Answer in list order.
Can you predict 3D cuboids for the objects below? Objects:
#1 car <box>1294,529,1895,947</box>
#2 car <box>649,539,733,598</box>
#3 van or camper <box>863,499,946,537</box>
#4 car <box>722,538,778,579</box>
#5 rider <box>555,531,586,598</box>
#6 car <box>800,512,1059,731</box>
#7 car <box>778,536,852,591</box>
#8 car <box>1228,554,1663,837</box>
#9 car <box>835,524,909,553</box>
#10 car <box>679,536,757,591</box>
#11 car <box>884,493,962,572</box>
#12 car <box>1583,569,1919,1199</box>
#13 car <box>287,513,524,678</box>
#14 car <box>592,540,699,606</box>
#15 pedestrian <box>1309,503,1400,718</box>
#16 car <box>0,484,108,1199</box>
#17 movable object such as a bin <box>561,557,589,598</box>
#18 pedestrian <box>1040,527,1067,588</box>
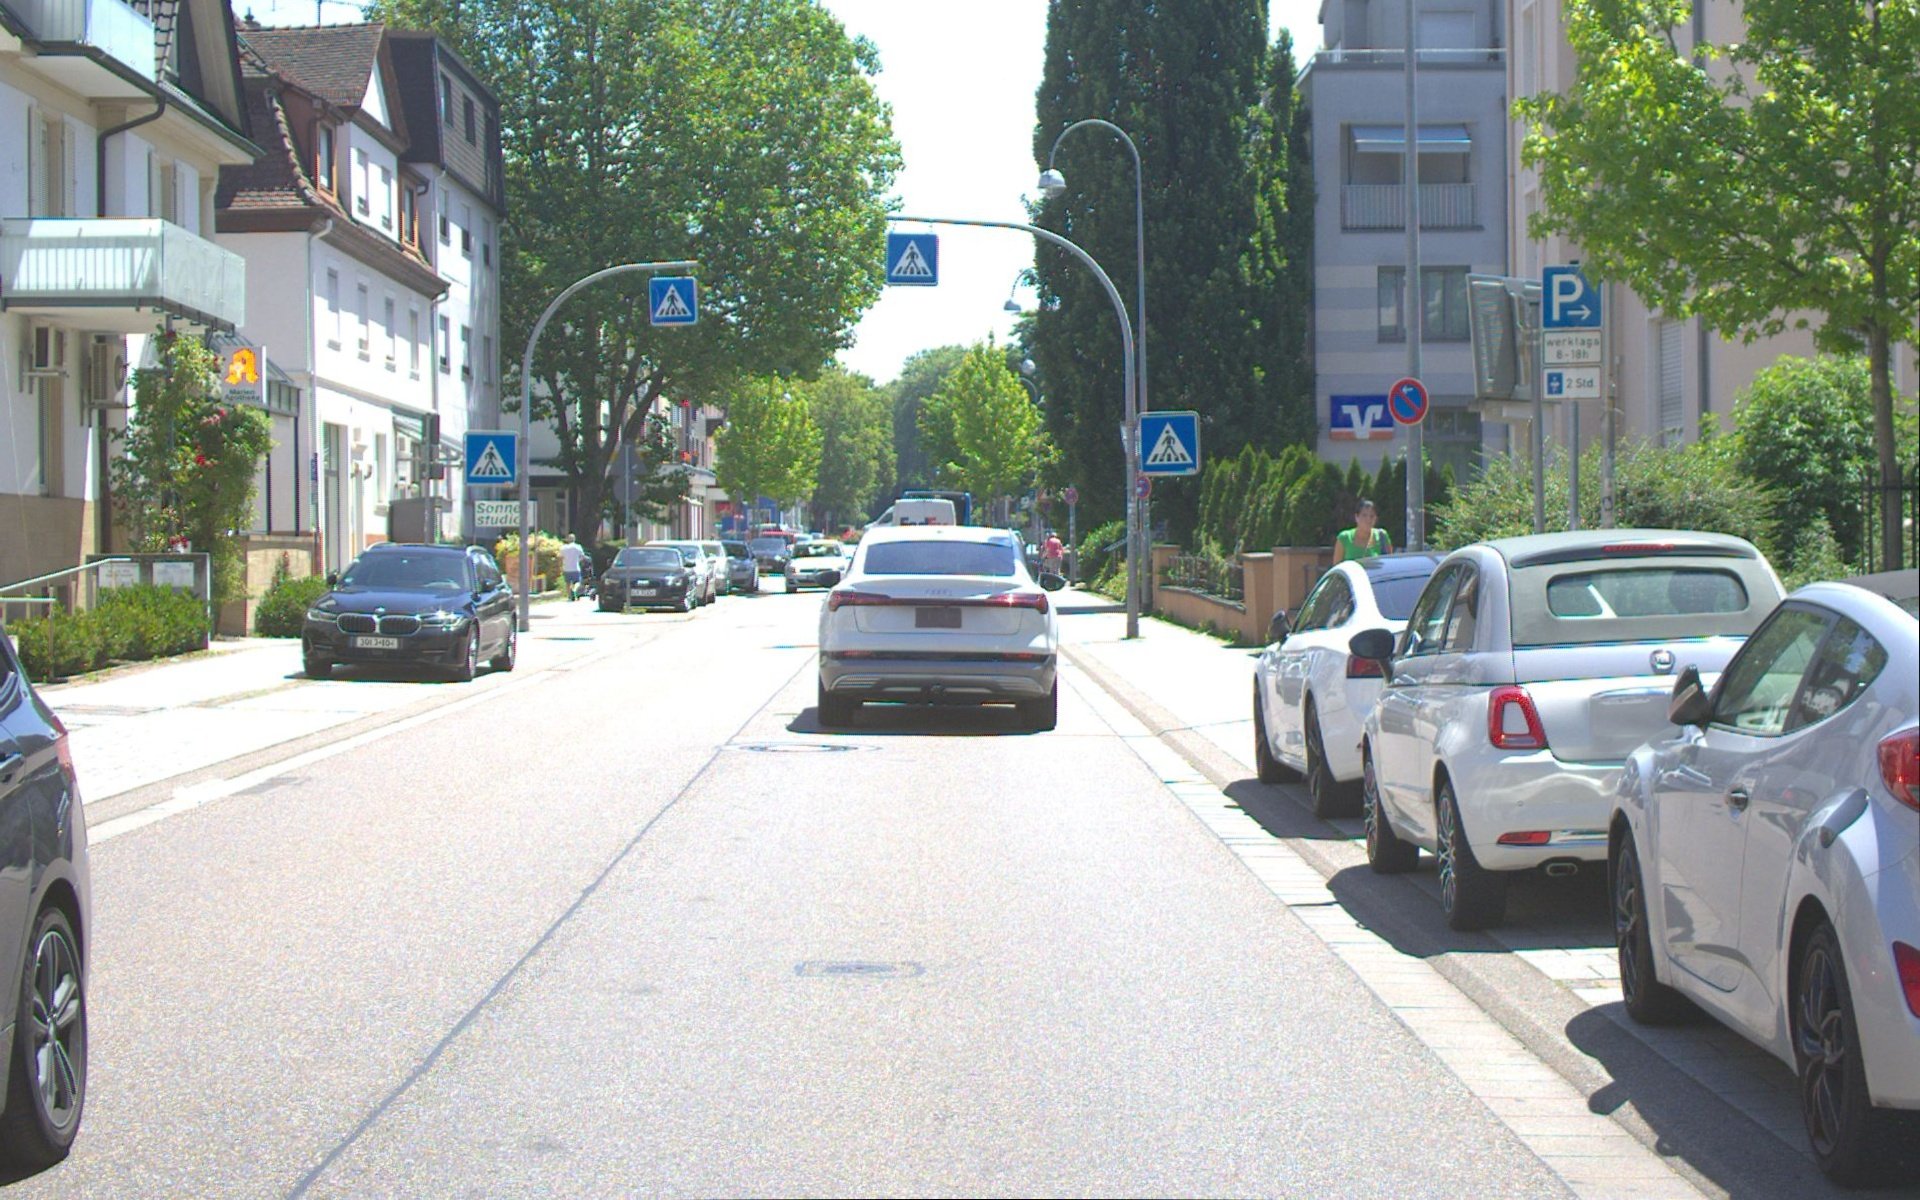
[{"bbox_3d":[2.530,0.474,14.726,1.658,1.483,4.346,-1,1,-1],"label":"car"},{"bbox_3d":[-7.055,-0.838,90.366,1.993,1.515,4.000,0,1,-1],"label":"car"},{"bbox_3d":[-3.676,-5.439,228.320,5.194,2.505,2.267,0,1,11],"label":"van or camper"},{"bbox_3d":[-8.006,-1.588,131.454,1.993,1.515,4.000,0,1,-1],"label":"car"},{"bbox_3d":[-9.091,-0.831,80.197,0.661,1.548,0.661,0,1,-1],"label":"rider"},{"bbox_3d":[-0.243,0.138,28.879,1.936,1.609,4.472,3,1,0],"label":"car"},{"bbox_3d":[-4.049,-1.030,96.527,1.978,1.515,4.000,0,1,-1],"label":"car"},{"bbox_3d":[2.616,0.450,19.482,1.726,1.378,4.402,-1,1,-1],"label":"car"},{"bbox_3d":[-5.064,-3.551,197.445,3.988,1.645,2.000,0,1,7],"label":"car"},{"bbox_3d":[-6.764,-1.034,96.514,1.993,1.515,4.000,0,1,-1],"label":"car"},{"bbox_3d":[-1.090,-1.924,98.273,2.069,2.189,5.139,1,1,-2],"label":"car"},{"bbox_3d":[2.875,0.605,9.045,1.862,1.368,4.000,0,1,2],"label":"car"},{"bbox_3d":[-6.252,-0.081,39.242,1.926,1.714,4.472,2,1,0],"label":"car"},{"bbox_3d":[-6.621,-0.590,72.741,1.993,1.345,4.000,0,1,-1],"label":"car"},{"bbox_3d":[3.258,0.083,28.411,0.637,1.752,0.617,0,1,-5],"label":"pedestrian"},{"bbox_3d":[-3.116,0.592,6.569,1.974,1.665,4.472,0,1,-2],"label":"car"},{"bbox_3d":[-9.052,-0.532,80.816,0.587,0.949,0.566,0,1,-1],"label":"movable object such as a bin"},{"bbox_3d":[2.643,-1.196,97.316,0.693,1.730,0.668,0,0,-5],"label":"pedestrian"}]
